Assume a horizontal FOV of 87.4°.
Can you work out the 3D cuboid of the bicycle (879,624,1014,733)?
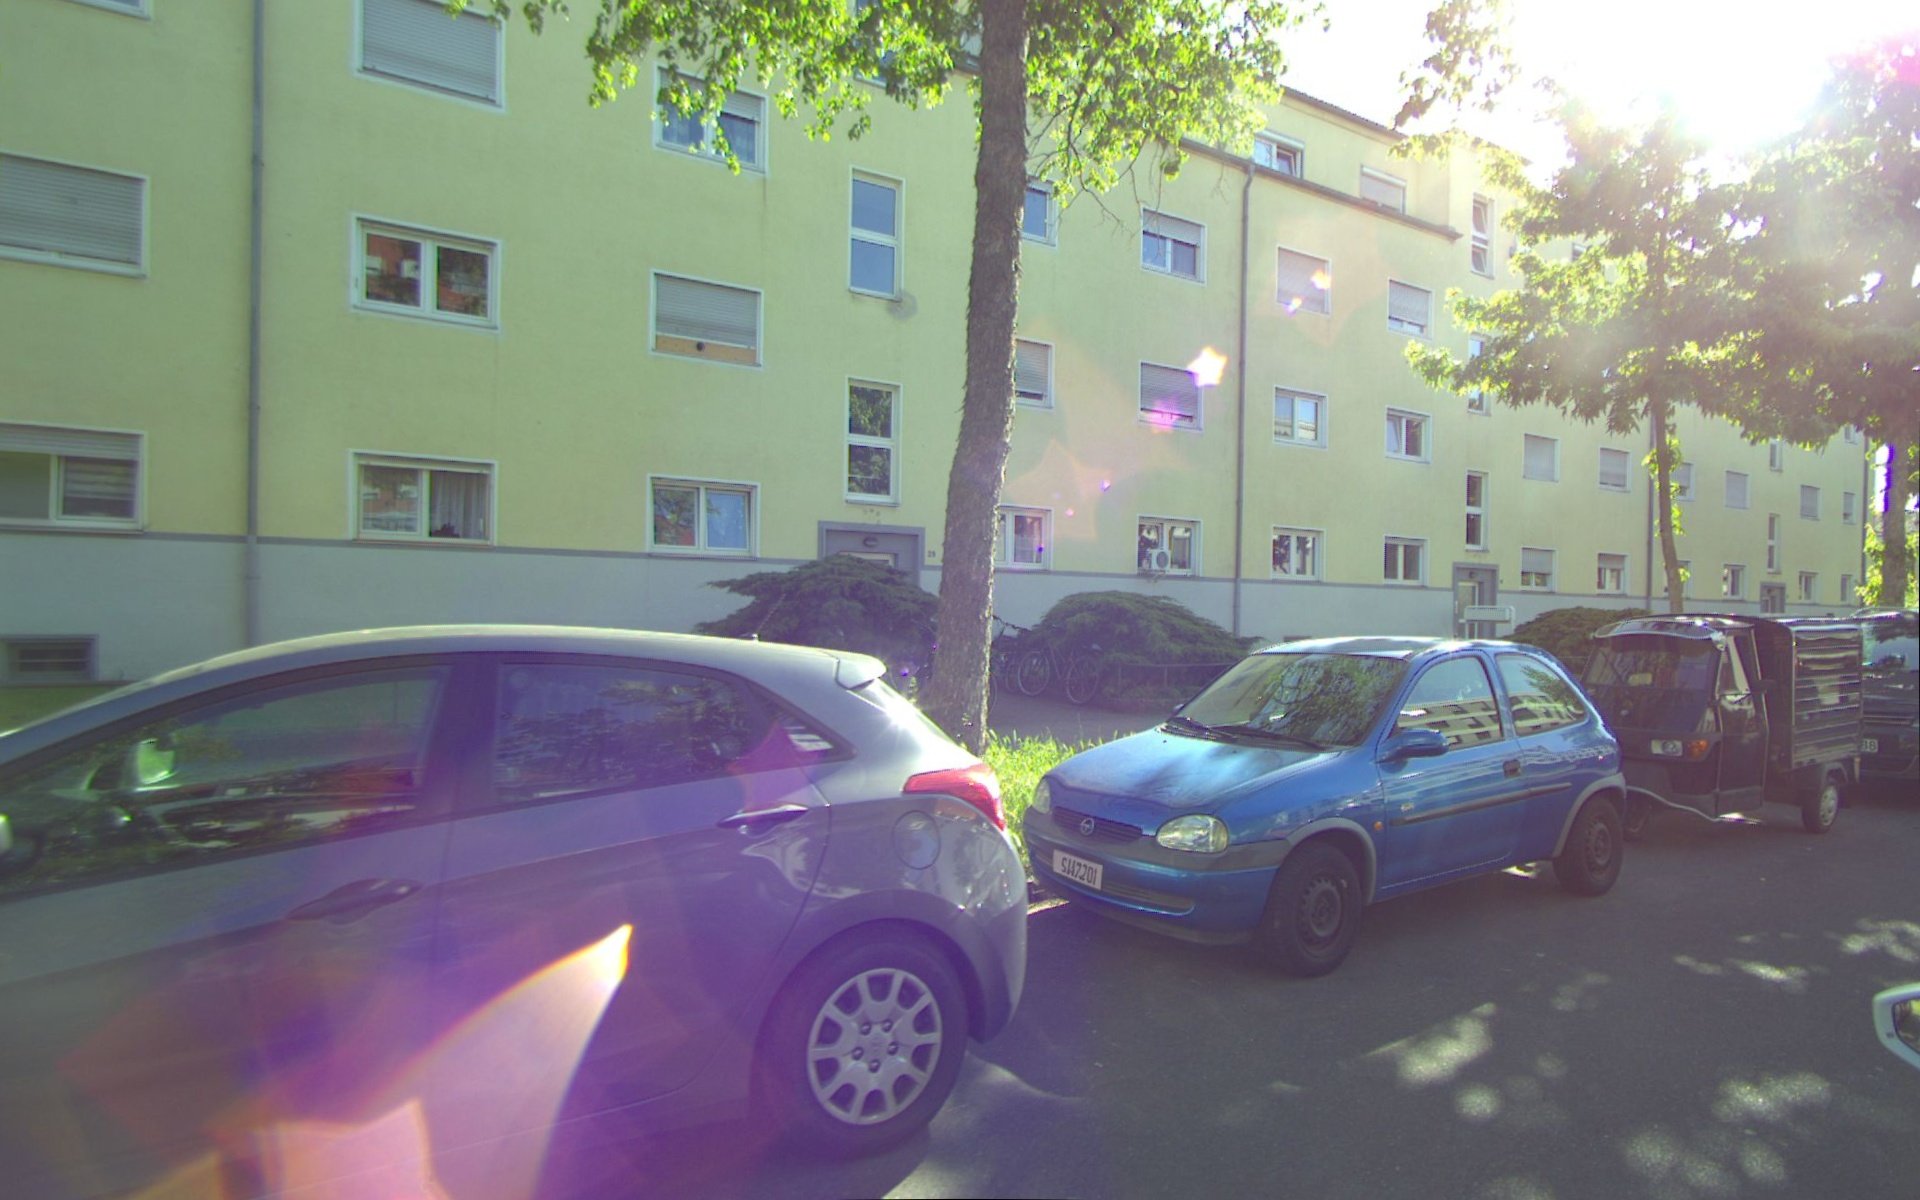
[{"bbox_3d":[-0.116,0.829,11.271,0.478,1.095,1.839,4,1,35],"label":"bicycle"}]

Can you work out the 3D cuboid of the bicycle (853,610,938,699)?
[{"bbox_3d":[-0.945,0.742,14.304,0.480,1.095,1.832,2,1,-27],"label":"bicycle"}]

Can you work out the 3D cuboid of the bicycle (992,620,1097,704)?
[{"bbox_3d":[1.174,0.852,14.359,0.481,1.095,1.828,1,-1,-33],"label":"bicycle"}]

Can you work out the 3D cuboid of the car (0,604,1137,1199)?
[{"bbox_3d":[-1.883,0.770,2.811,4.631,1.463,1.784,1,-2,-29],"label":"car"}]

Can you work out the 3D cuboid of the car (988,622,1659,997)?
[{"bbox_3d":[2.100,0.855,5.489,3.686,1.414,1.512,1,-1,-32],"label":"car"}]

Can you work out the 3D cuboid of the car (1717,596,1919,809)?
[{"bbox_3d":[9.542,0.878,9.706,4.919,1.702,1.840,1,-3,-31],"label":"car"}]

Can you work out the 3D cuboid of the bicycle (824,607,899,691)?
[{"bbox_3d":[-1.560,0.732,15.623,0.480,1.161,1.832,2,1,-27],"label":"bicycle"}]

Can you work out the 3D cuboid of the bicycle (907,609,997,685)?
[{"bbox_3d":[-0.160,0.753,16.630,0.482,1.095,1.828,5,0,-33],"label":"bicycle"}]

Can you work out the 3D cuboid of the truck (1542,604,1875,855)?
[{"bbox_3d":[5.564,0.845,7.445,2.401,1.598,1.079,1,-1,-29],"label":"truck"}]
